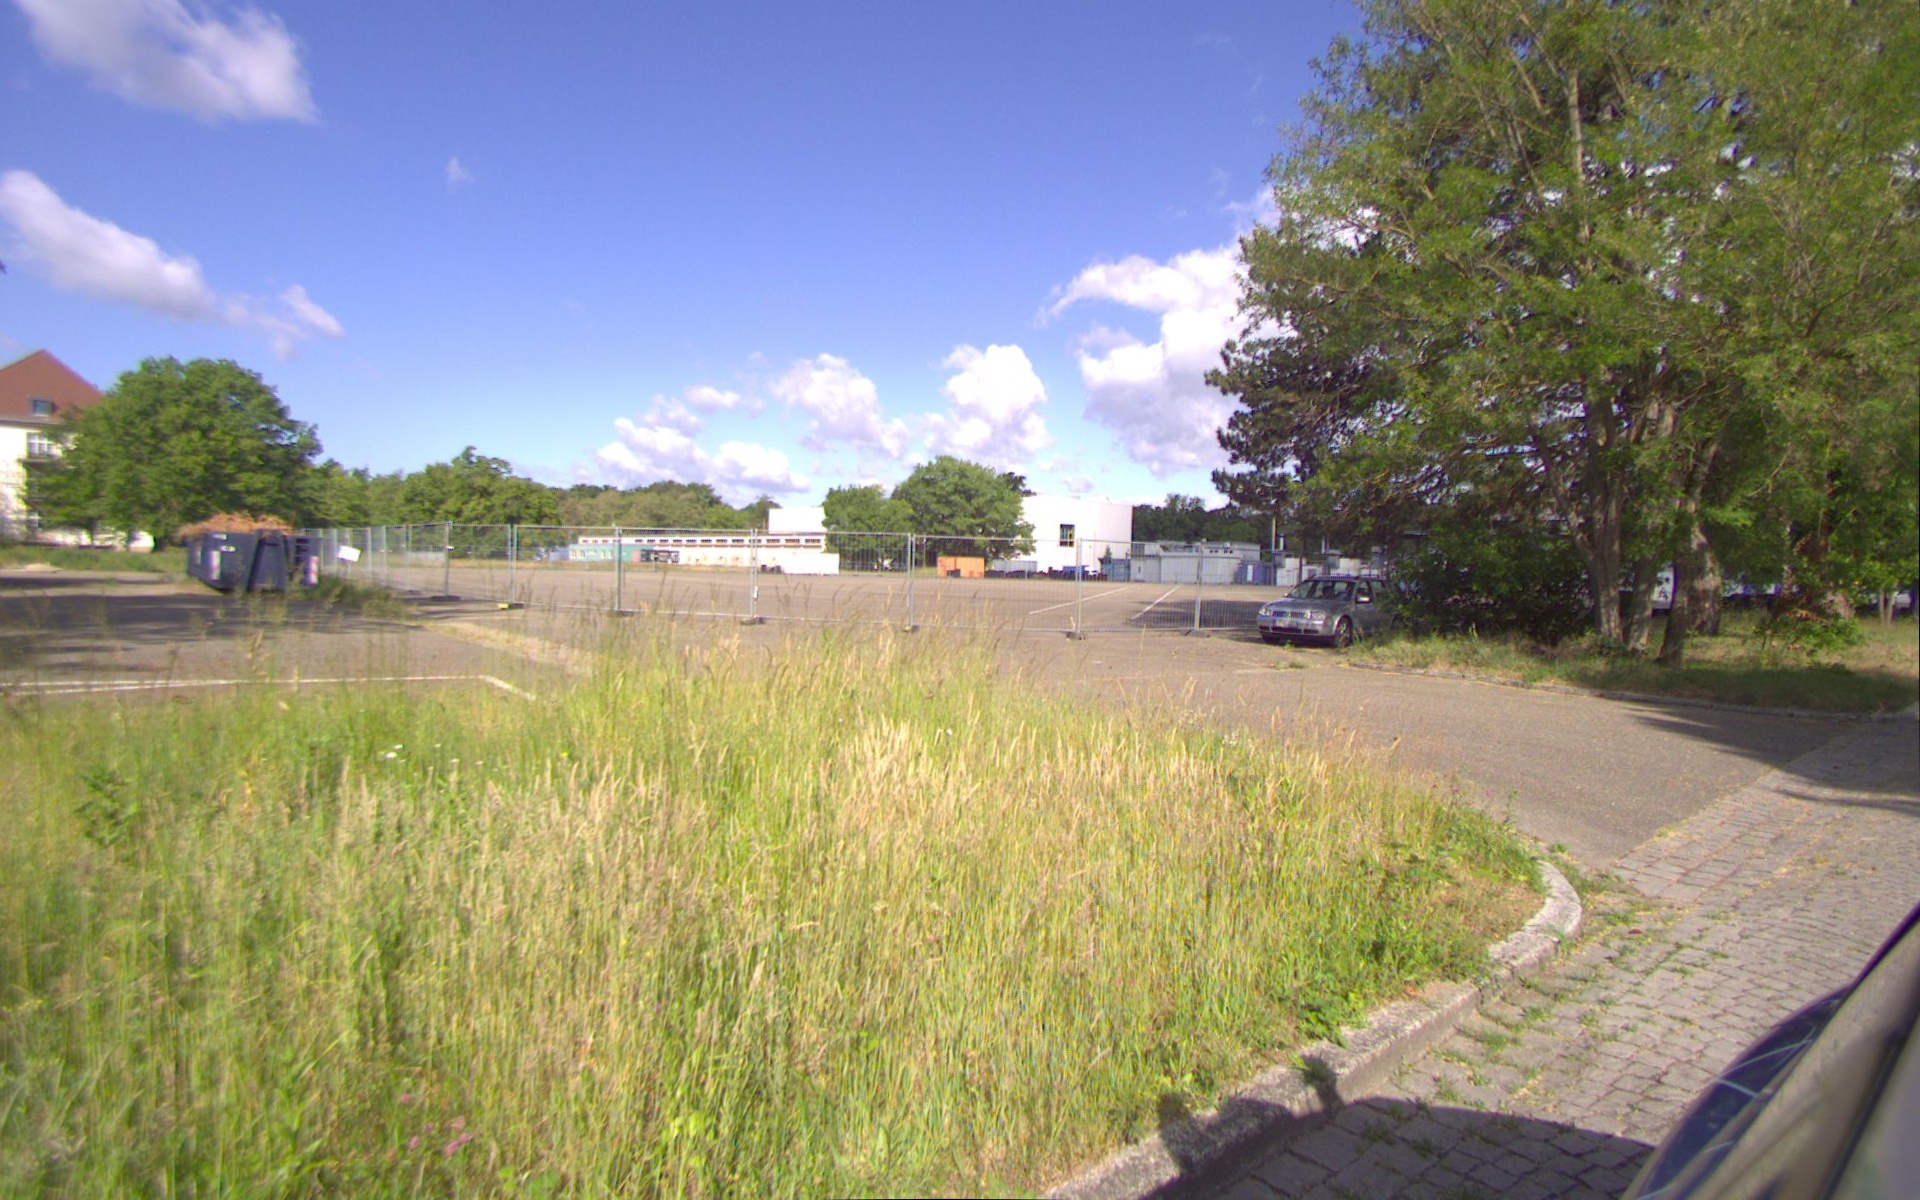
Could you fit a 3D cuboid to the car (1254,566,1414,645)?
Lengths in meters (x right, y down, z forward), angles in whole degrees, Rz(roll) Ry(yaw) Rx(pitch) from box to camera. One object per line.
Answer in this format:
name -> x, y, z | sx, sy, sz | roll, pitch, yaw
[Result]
car -> 7.891, 0.075, 21.196 | 3.921, 1.461, 1.576 | 0, 3, -44
